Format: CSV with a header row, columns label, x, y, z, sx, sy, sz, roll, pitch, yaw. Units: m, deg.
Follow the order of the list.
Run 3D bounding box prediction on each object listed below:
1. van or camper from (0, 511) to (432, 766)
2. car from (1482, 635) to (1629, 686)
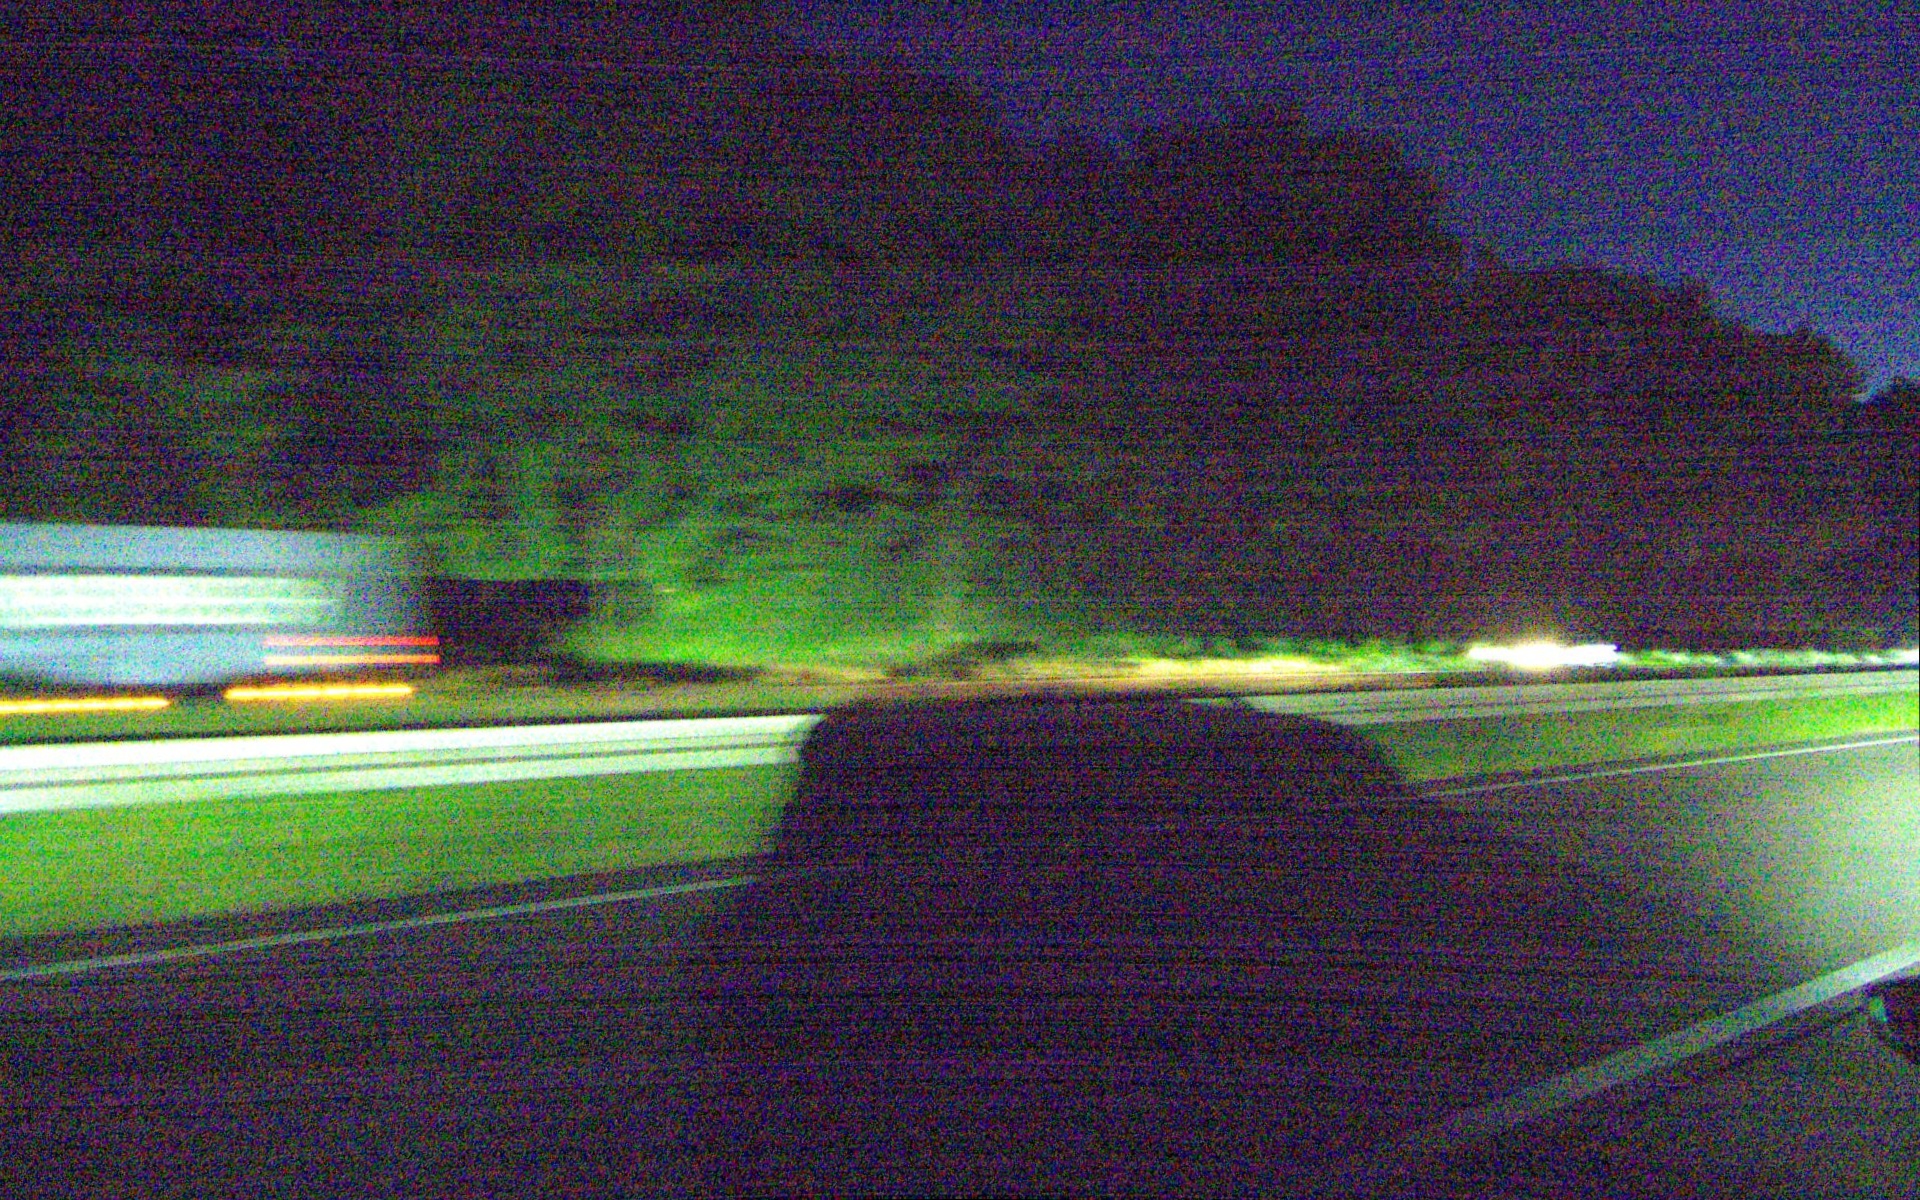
label,x,y,z,sx,sy,sz,roll,pitch,yaw
van or camper,-10.442,0.437,11.568,7.580,2.652,2.283,1,-2,-32
car,18.373,1.825,30.986,4.114,1.476,1.952,1,-3,-26
